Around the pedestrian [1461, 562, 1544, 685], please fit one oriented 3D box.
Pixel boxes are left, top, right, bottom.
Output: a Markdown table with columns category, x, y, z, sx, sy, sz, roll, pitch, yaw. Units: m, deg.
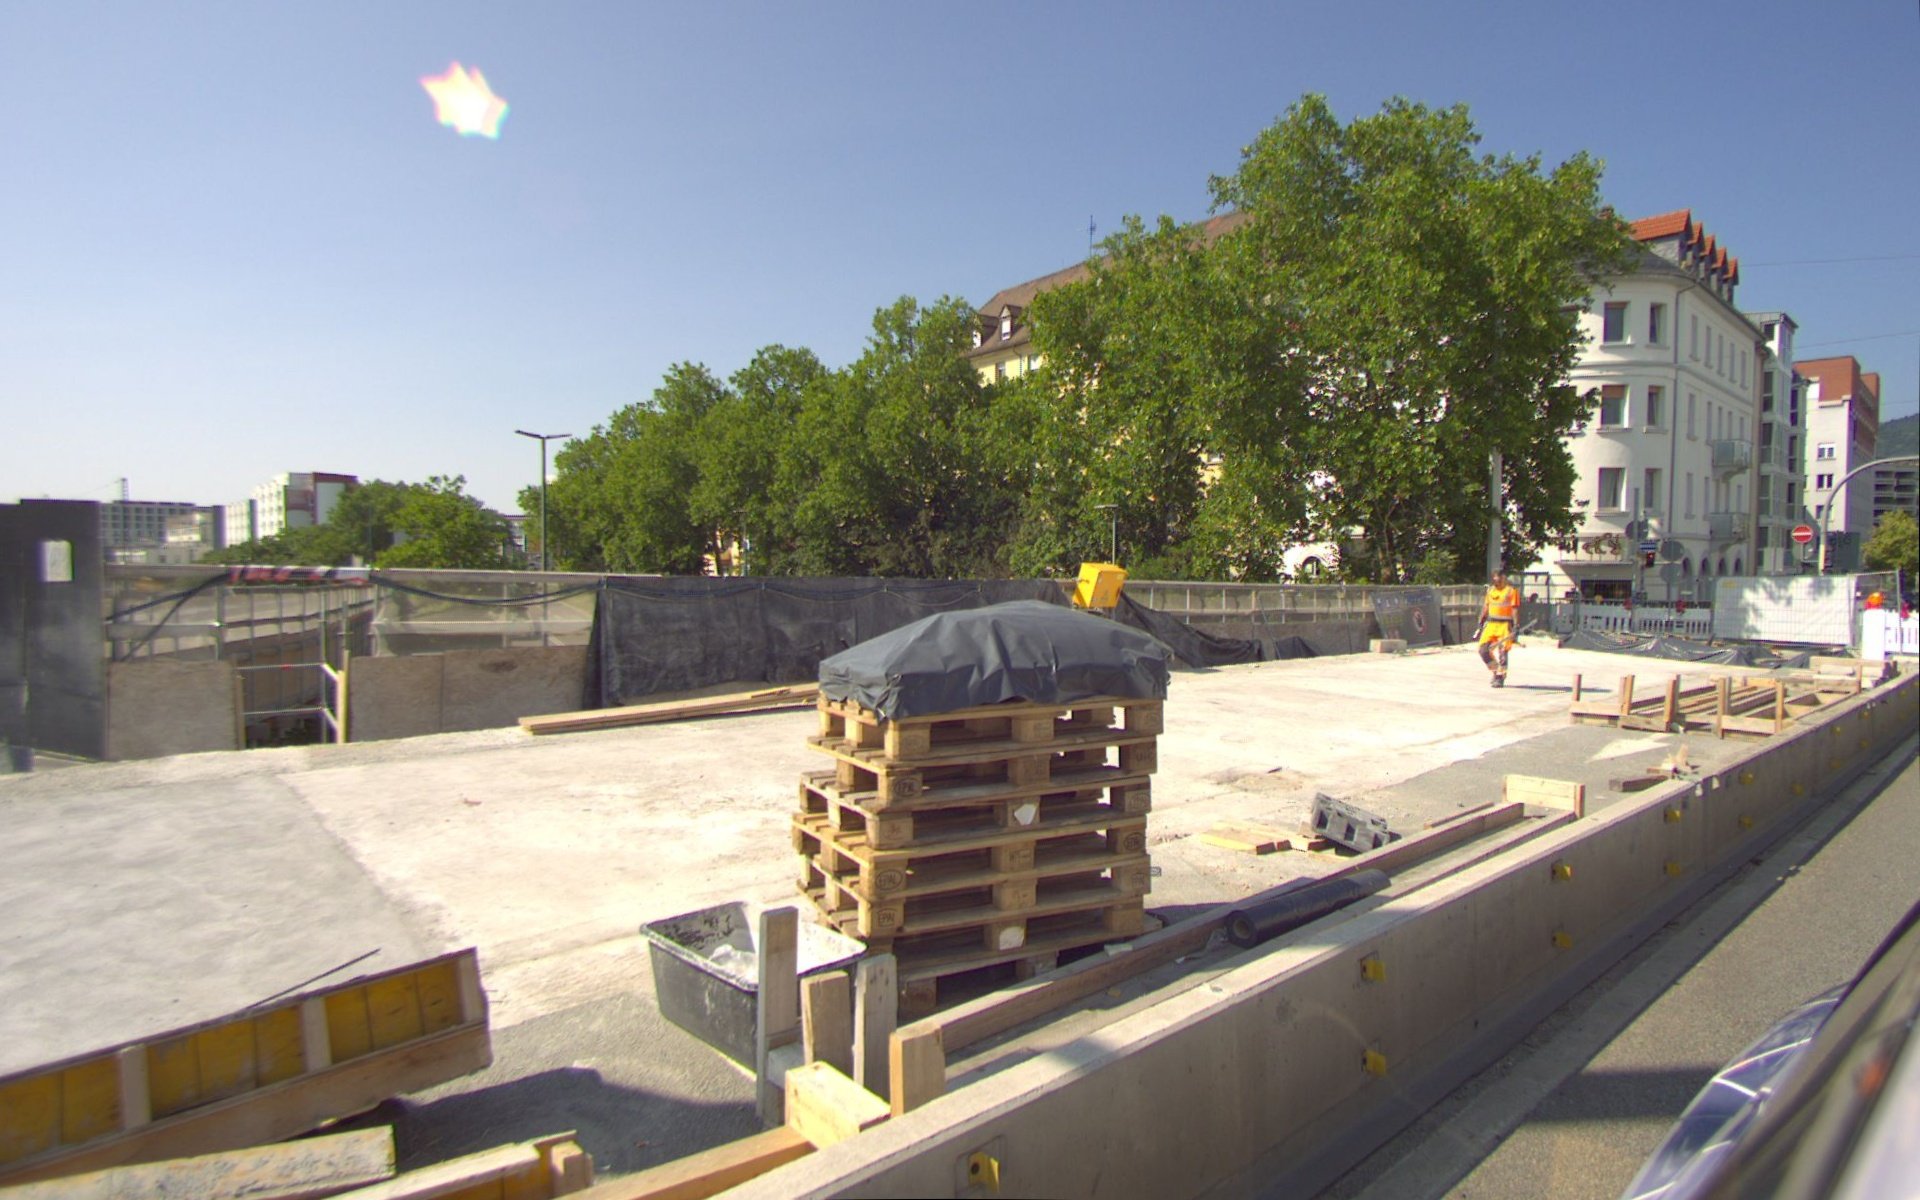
| category | x | y | z | sx | sy | sz | roll | pitch | yaw |
| --- | --- | --- | --- | --- | --- | --- | --- | --- | --- |
| pedestrian | 8.404 | 0.341 | 15.690 | 0.849 | 1.816 | 0.821 | -1 | 3 | -42 |

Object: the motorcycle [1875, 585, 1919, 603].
| category | x | y | z | sx | sy | sz | roll | pitch | yaw |
| --- | --- | --- | --- | --- | --- | --- | --- | --- | --- |
| motorcycle | 63.929 | -0.423 | 69.008 | 0.731 | 1.180 | 2.177 | 0 | 2 | -39 |
